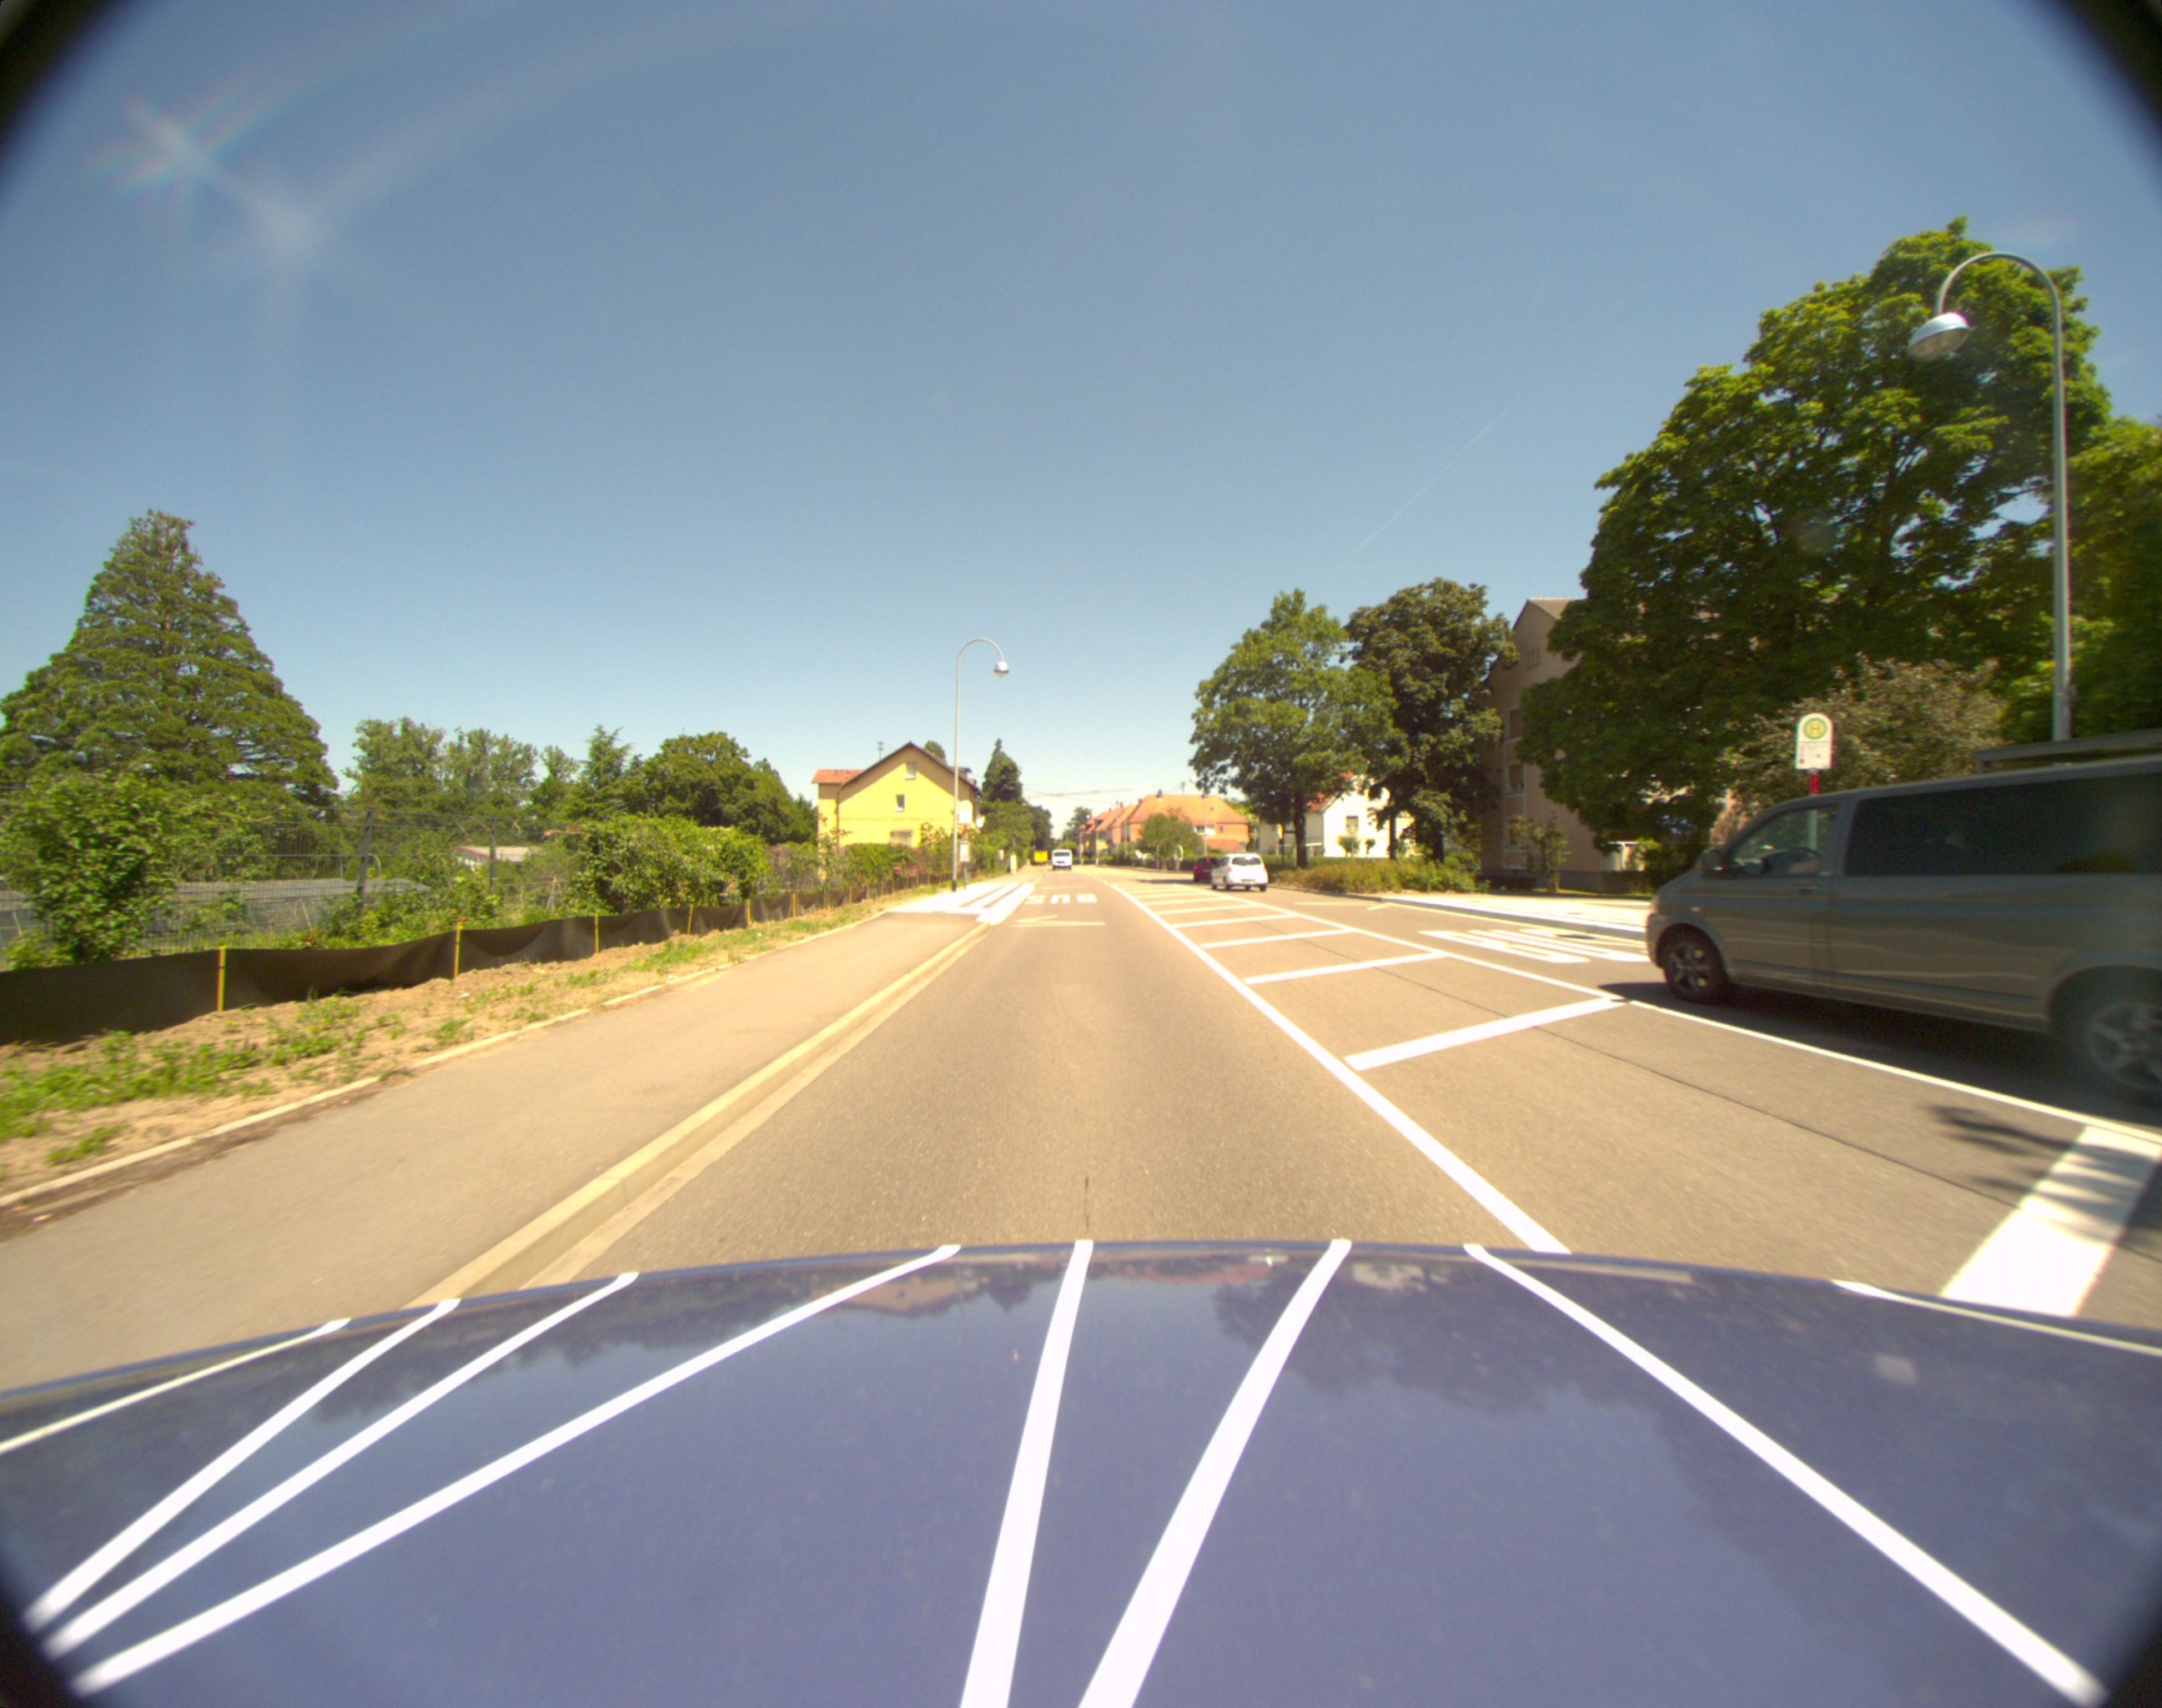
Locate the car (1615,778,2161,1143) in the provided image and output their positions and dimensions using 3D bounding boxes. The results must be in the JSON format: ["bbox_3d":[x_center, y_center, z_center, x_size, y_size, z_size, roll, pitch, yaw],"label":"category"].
[{"bbox_3d":[6.579,0.538,5.389,1.999,1.898,4.990,-1,0,-1],"label":"car"}]

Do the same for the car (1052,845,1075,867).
[{"bbox_3d":[-1.777,0.197,75.172,1.999,2.002,4.385,-2,0,-4],"label":"car"}]

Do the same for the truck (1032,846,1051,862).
[{"bbox_3d":[-6.085,0.019,115.786,2.020,2.295,6.171,-3,0,-10],"label":"truck"}]

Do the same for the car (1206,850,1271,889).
[{"bbox_3d":[6.356,0.618,30.982,1.695,1.451,3.639,-2,0,-3],"label":"car"}]

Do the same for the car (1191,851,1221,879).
[{"bbox_3d":[6.891,0.576,42.117,1.553,1.442,3.693,1,0,8],"label":"car"}]
